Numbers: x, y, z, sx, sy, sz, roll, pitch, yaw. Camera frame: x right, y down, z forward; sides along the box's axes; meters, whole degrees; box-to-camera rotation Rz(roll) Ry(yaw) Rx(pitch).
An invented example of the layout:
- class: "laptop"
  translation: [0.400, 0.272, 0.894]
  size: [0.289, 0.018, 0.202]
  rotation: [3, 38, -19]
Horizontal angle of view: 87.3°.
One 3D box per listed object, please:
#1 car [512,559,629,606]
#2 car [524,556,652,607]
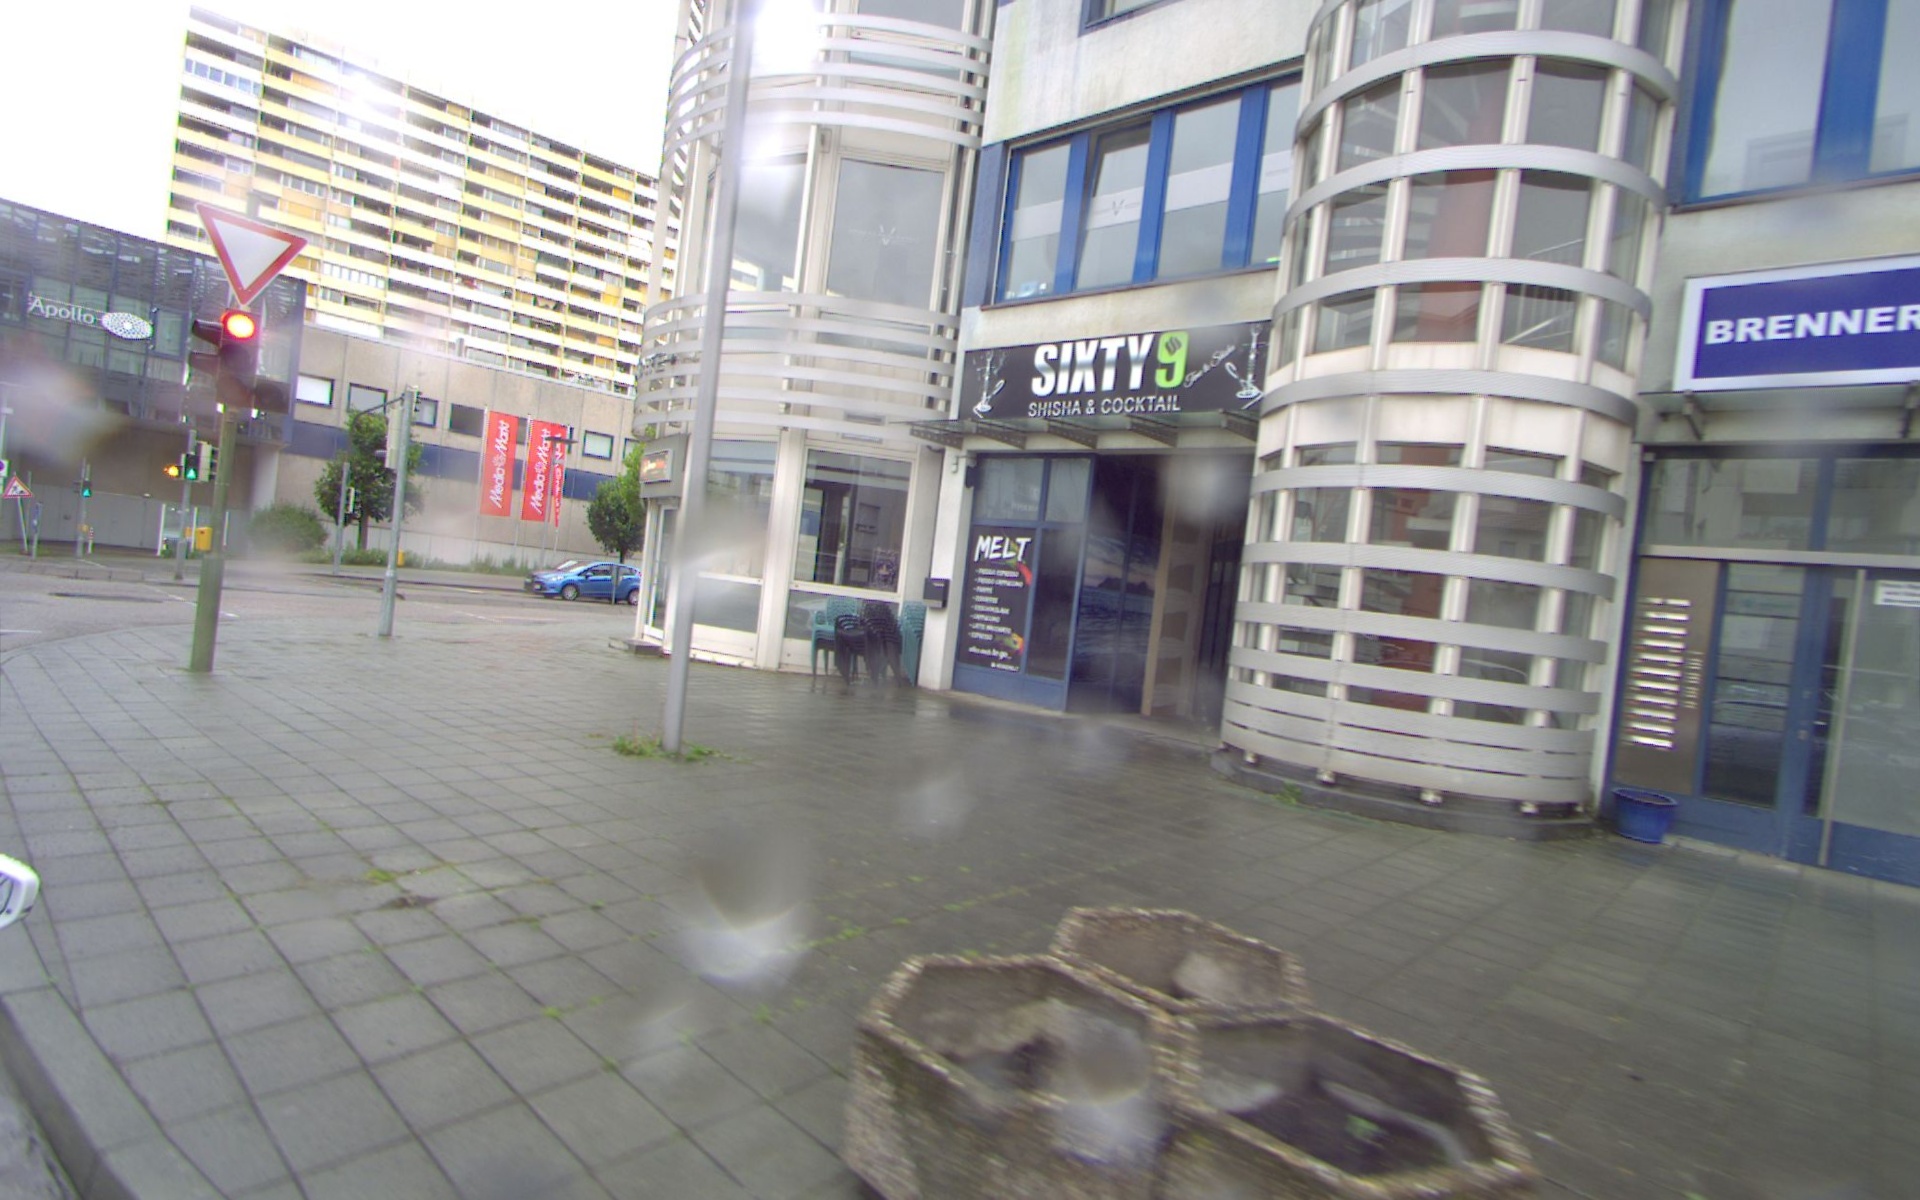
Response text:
- class: "car"
  translation: [-14.723, -0.640, 38.113]
  size: [1.721, 1.412, 3.675]
  rotation: [6, 0, 43]
- class: "car"
  translation: [-13.026, -0.635, 35.405]
  size: [1.656, 1.415, 3.834]
  rotation: [6, 0, 42]
